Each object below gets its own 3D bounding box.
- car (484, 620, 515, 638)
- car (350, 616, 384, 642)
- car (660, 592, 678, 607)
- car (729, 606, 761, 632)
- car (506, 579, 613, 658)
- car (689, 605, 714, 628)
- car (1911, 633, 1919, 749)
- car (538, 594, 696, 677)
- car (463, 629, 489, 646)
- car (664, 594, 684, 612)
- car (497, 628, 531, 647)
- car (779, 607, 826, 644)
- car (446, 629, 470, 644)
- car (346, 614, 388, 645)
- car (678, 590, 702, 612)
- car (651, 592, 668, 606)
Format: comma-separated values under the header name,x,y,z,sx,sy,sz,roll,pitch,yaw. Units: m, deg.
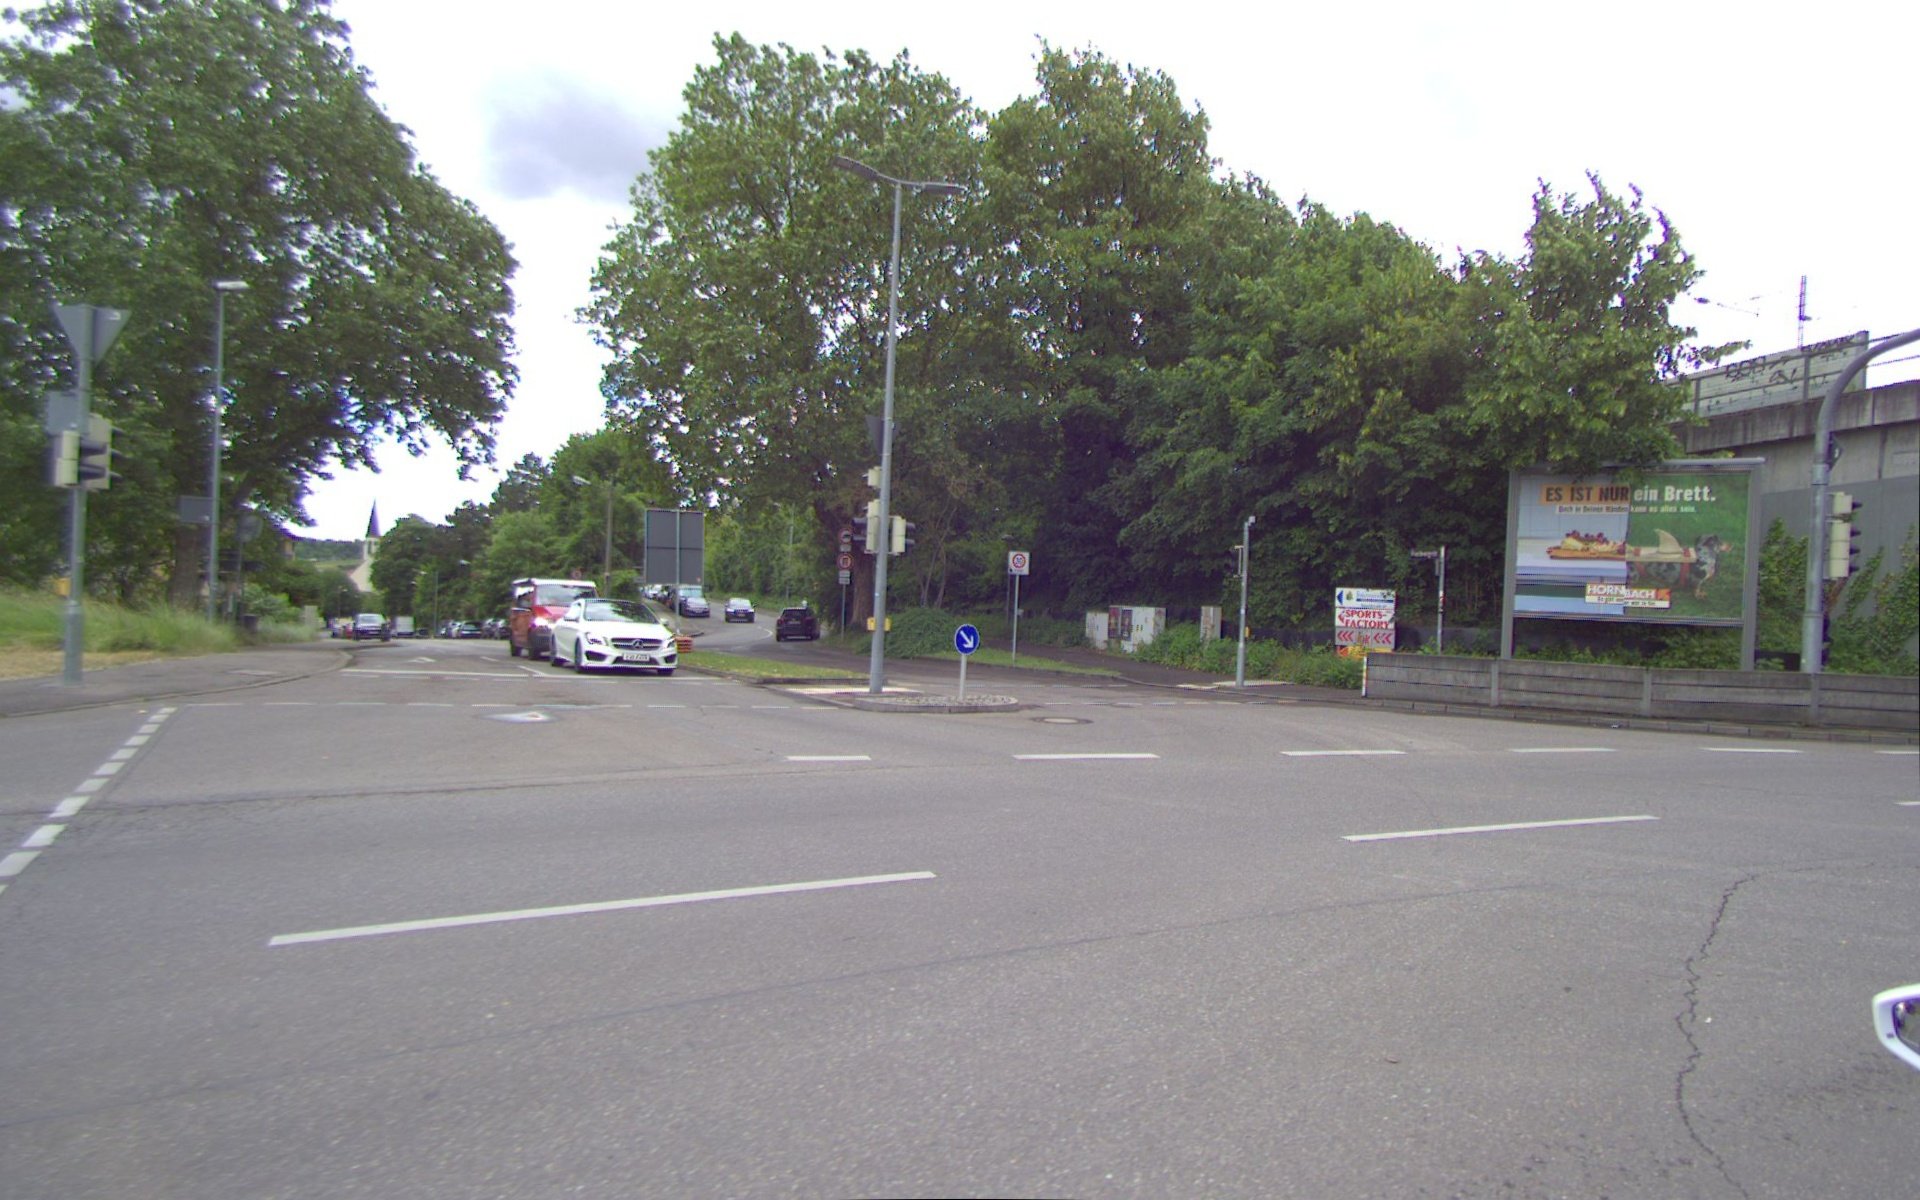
name,x,y,z,sx,sy,sz,roll,pitch,yaw
car,-34.843,2.193,75.962,1.676,1.327,3.966,2,-2,-31
car,-35.772,1.750,60.569,1.654,1.372,3.700,3,0,-32
car,-32.080,-0.020,110.692,1.689,1.561,3.982,2,0,-19
car,-14.042,1.240,65.455,1.834,1.528,3.988,2,0,-14
car,-10.299,0.454,25.661,1.835,1.837,4.004,2,-1,-32
car,-18.656,1.176,72.405,1.687,1.528,3.987,2,0,-15
car,14.559,1.281,12.368,4.058,1.496,1.821,3,1,-4
car,-6.914,0.655,19.932,1.979,1.356,4.381,4,-1,-32
car,-41.929,3.258,86.982,1.676,1.327,3.966,2,-1,-31
car,-27.500,0.268,96.598,1.689,1.561,3.984,2,0,-18
car,-31.108,2.624,69.994,1.676,1.327,3.967,2,-3,-31
car,-7.110,1.117,45.257,1.964,1.528,3.993,2,0,-9
car,-48.594,3.549,97.192,1.676,1.327,3.967,2,-3,-31
car,-29.083,1.439,49.258,1.676,1.327,3.965,2,0,-31
car,-21.162,0.091,78.701,1.687,1.561,3.986,2,1,-15
car,-35.832,-0.092,119.823,1.689,1.561,3.982,2,0,-19
